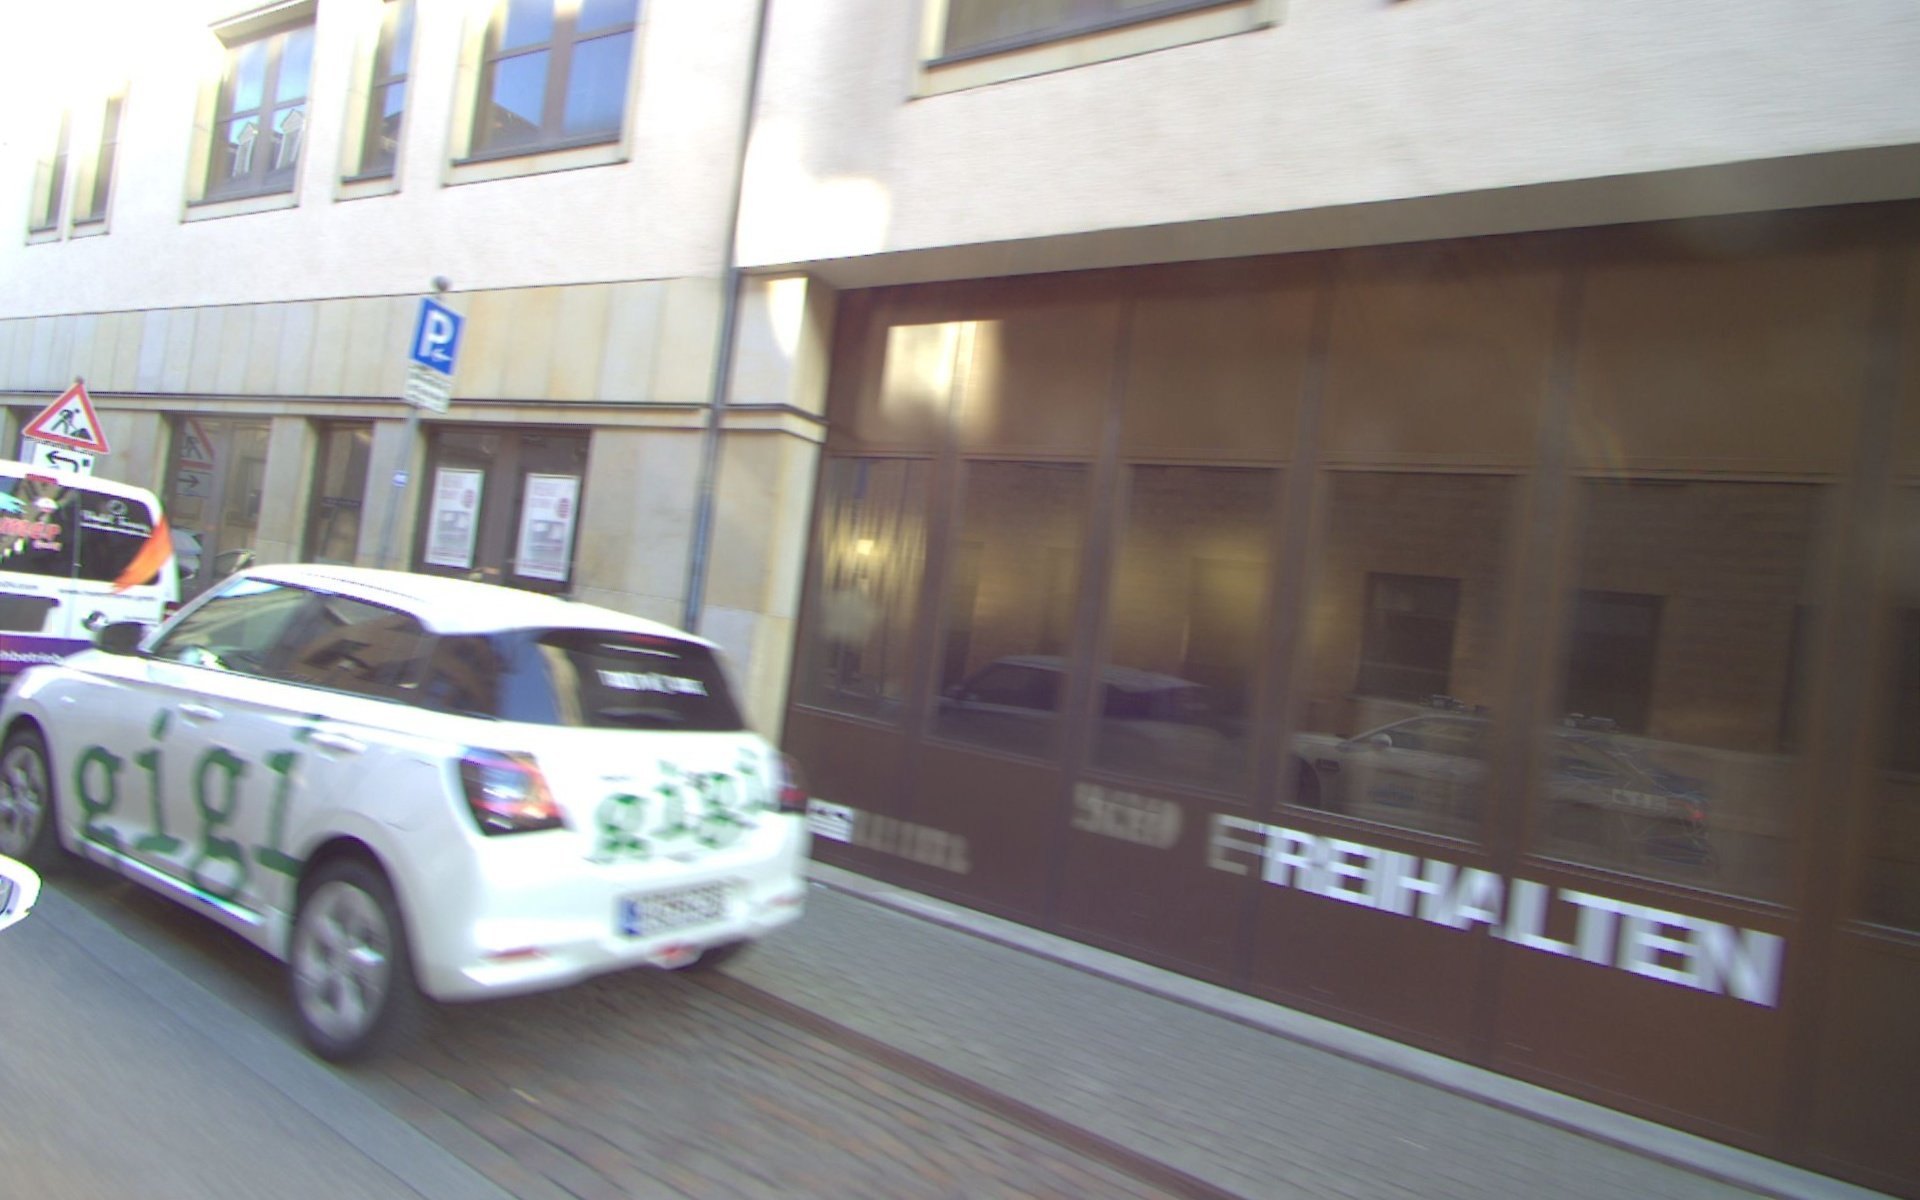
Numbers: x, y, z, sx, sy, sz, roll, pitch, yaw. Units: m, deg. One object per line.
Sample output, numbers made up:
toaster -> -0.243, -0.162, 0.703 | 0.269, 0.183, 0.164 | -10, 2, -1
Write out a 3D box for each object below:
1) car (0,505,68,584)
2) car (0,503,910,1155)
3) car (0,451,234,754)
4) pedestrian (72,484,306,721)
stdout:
car -> -22.039, -1.468, 21.302 | 1.869, 1.570, 4.229 | 7, -3, 27
car -> -2.522, 0.606, 4.452 | 4.096, 1.493, 1.847 | 7, -4, 29
car -> -7.857, -0.203, 7.508 | 5.125, 1.811, 1.836 | 7, -3, 30
pedestrian -> -6.574, 0.037, 8.606 | 1.178, 1.822, 1.044 | 6, -1, 30
